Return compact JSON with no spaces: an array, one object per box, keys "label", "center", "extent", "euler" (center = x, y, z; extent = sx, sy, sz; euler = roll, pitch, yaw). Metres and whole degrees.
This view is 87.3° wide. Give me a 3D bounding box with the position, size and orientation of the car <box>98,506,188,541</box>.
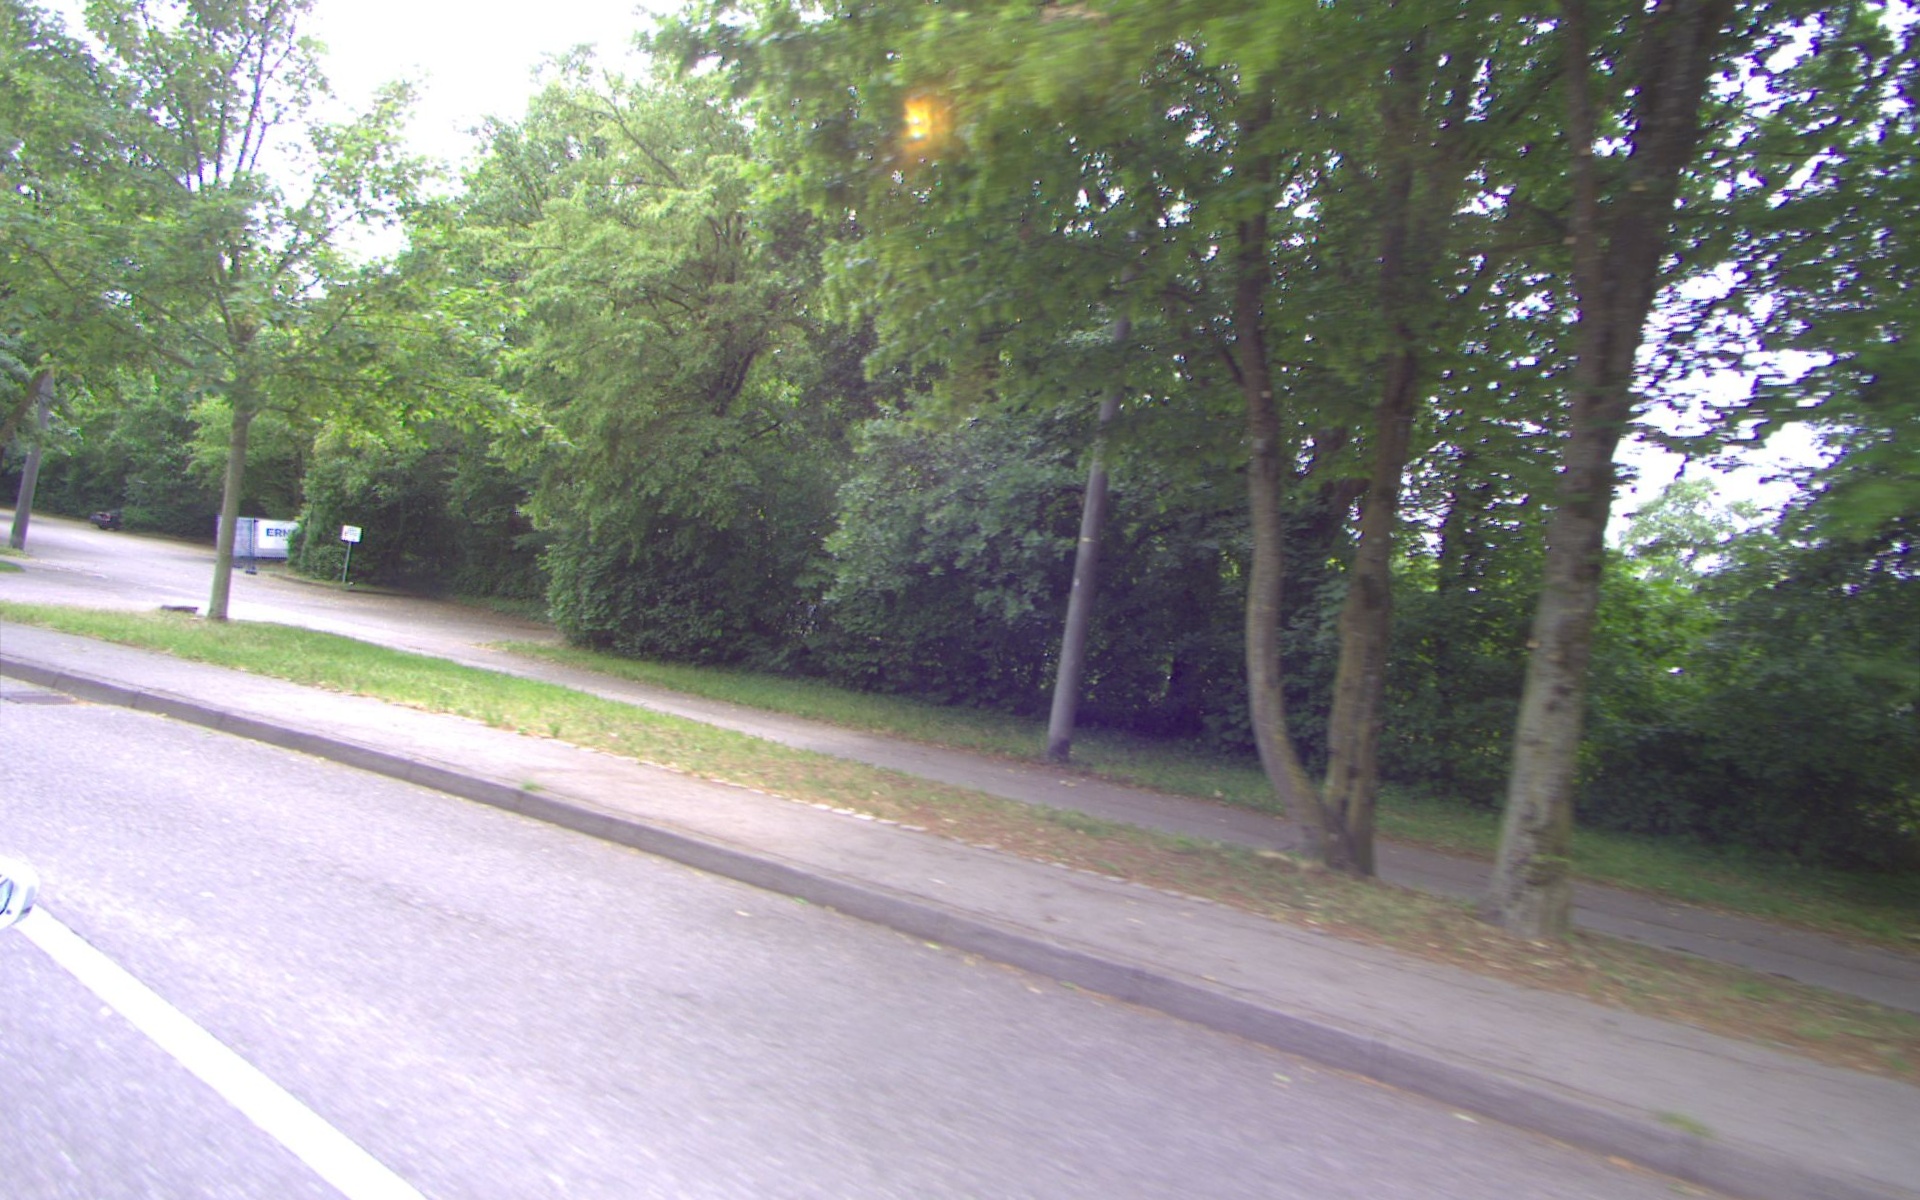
[{"label":"car","center":[-51.989,-4.860,64.079],"extent":[1.769,1.425,3.998],"euler":[7,-2,28]}]
